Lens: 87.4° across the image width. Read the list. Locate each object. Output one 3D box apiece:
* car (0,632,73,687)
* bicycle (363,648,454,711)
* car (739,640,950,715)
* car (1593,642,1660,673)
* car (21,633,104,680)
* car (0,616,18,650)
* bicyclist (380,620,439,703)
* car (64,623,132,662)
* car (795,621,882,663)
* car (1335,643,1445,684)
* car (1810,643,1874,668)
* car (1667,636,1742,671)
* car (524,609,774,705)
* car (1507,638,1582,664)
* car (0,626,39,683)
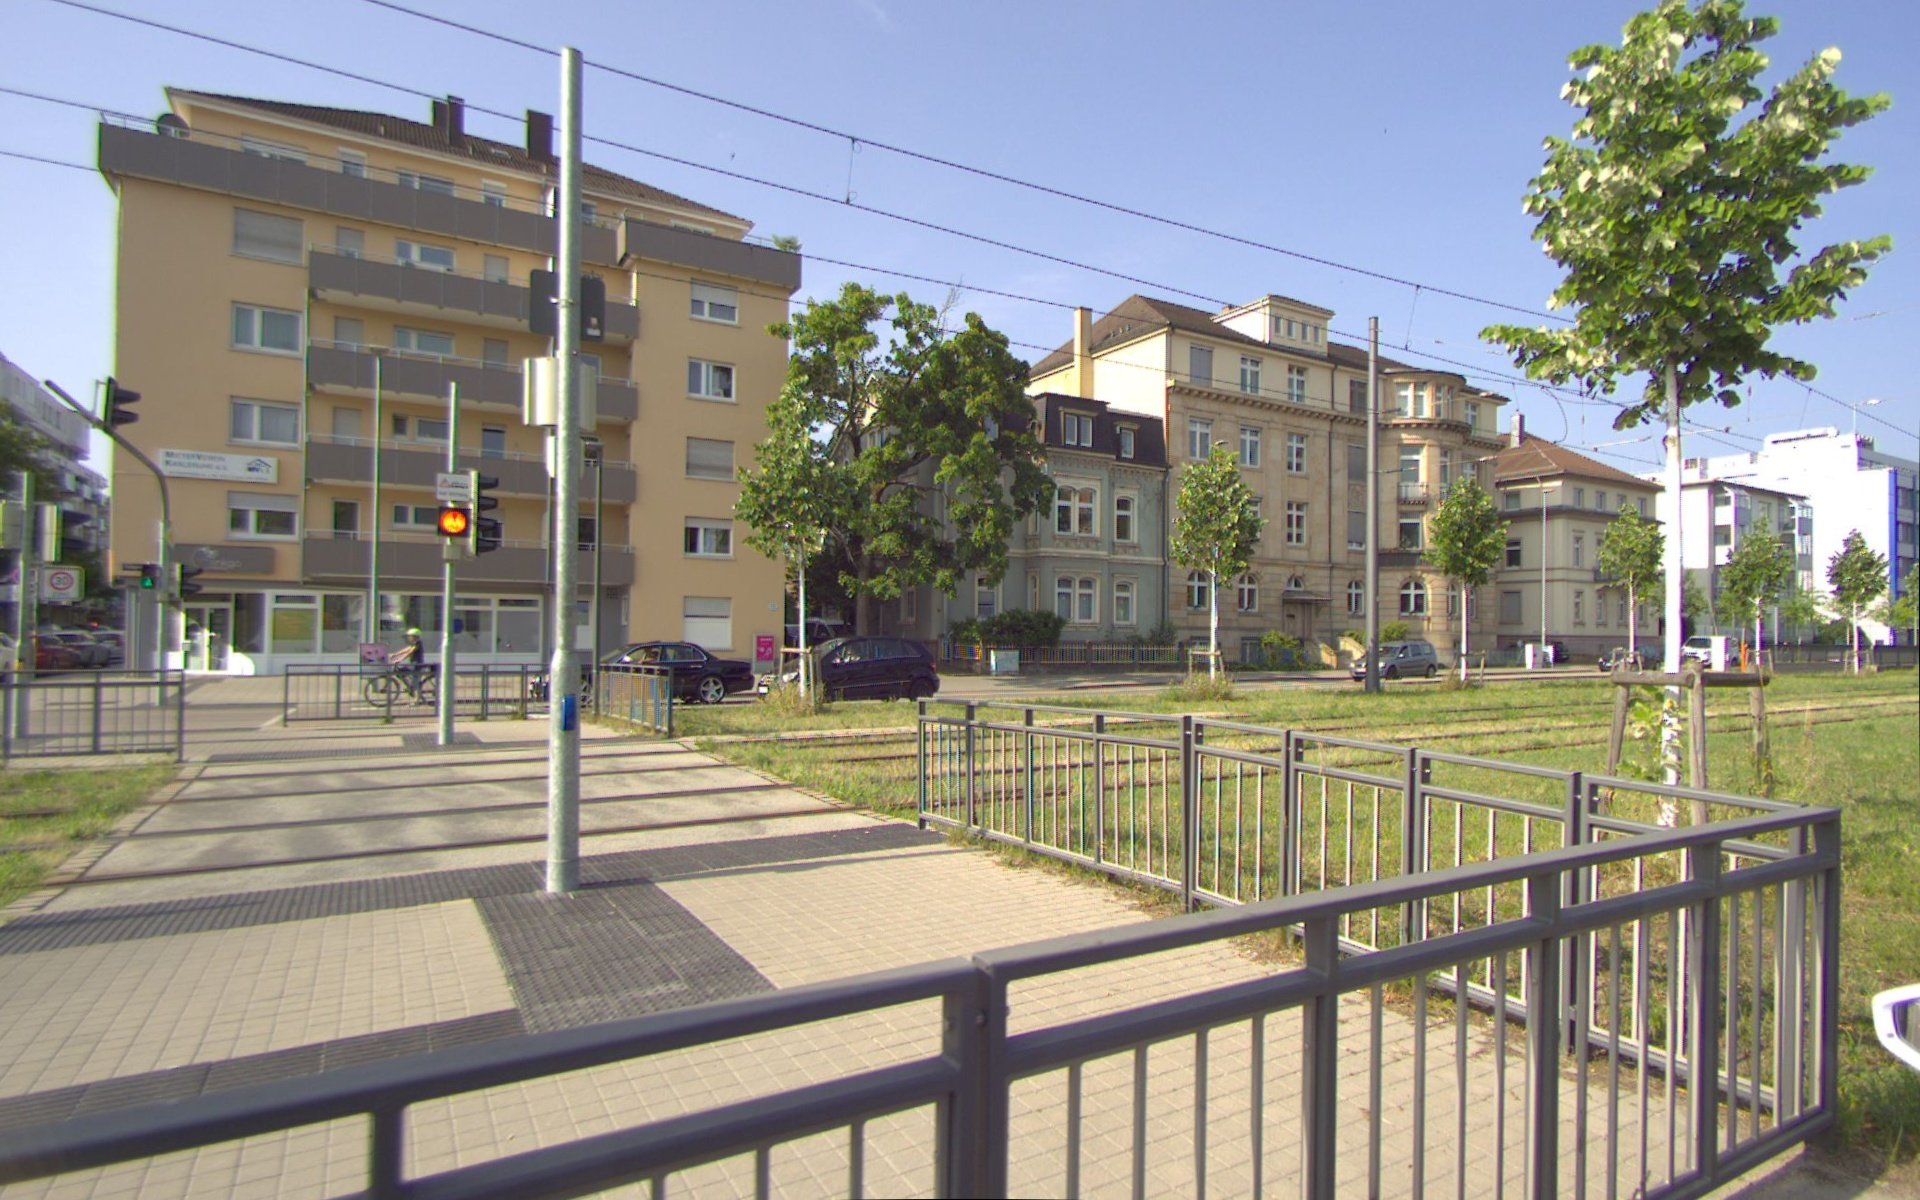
[{"bbox_3d":[-30.769,1.916,33.051,1.755,1.711,3.765,2,-2,-33],"label":"car"},{"bbox_3d":[-12.570,1.788,22.923,1.740,1.364,0.690,2,-2,-36],"label":"bicycle"},{"bbox_3d":[-2.588,1.708,22.863,4.350,1.533,1.982,2,-2,-33],"label":"car"},{"bbox_3d":[34.843,2.964,52.502,3.783,1.483,1.510,0,-2,-33],"label":"car"},{"bbox_3d":[-33.266,2.044,37.335,1.798,1.625,3.914,2,-2,-35],"label":"car"},{"bbox_3d":[-54.172,1.738,54.045,4.715,1.843,1.984,2,-2,-31],"label":"car"},{"bbox_3d":[-12.569,1.387,22.932,1.073,1.829,0.664,2,-2,-36],"label":"bicyclist"},{"bbox_3d":[-37.651,1.841,43.971,1.797,1.625,3.915,2,-2,-34],"label":"car"},{"bbox_3d":[-5.473,1.880,44.752,2.141,1.771,4.605,2,-3,-31],"label":"car"},{"bbox_3d":[17.721,2.587,41.332,4.478,1.597,1.983,2,-3,-32],"label":"car"},{"bbox_3d":[59.281,3.719,67.503,4.387,1.486,1.984,4,-3,-31],"label":"car"},{"bbox_3d":[49.518,3.554,66.781,5.207,2.040,2.237,4,-1,-33],"label":"car"},{"bbox_3d":[-7.214,1.303,23.541,5.245,2.040,1.982,2,-2,-33],"label":"car"},{"bbox_3d":[37.970,3.297,65.321,1.637,1.572,3.963,2,-2,-34],"label":"car"},{"bbox_3d":[-28.342,1.584,29.222,1.691,1.604,3.602,-1,-1,-33],"label":"car"}]
